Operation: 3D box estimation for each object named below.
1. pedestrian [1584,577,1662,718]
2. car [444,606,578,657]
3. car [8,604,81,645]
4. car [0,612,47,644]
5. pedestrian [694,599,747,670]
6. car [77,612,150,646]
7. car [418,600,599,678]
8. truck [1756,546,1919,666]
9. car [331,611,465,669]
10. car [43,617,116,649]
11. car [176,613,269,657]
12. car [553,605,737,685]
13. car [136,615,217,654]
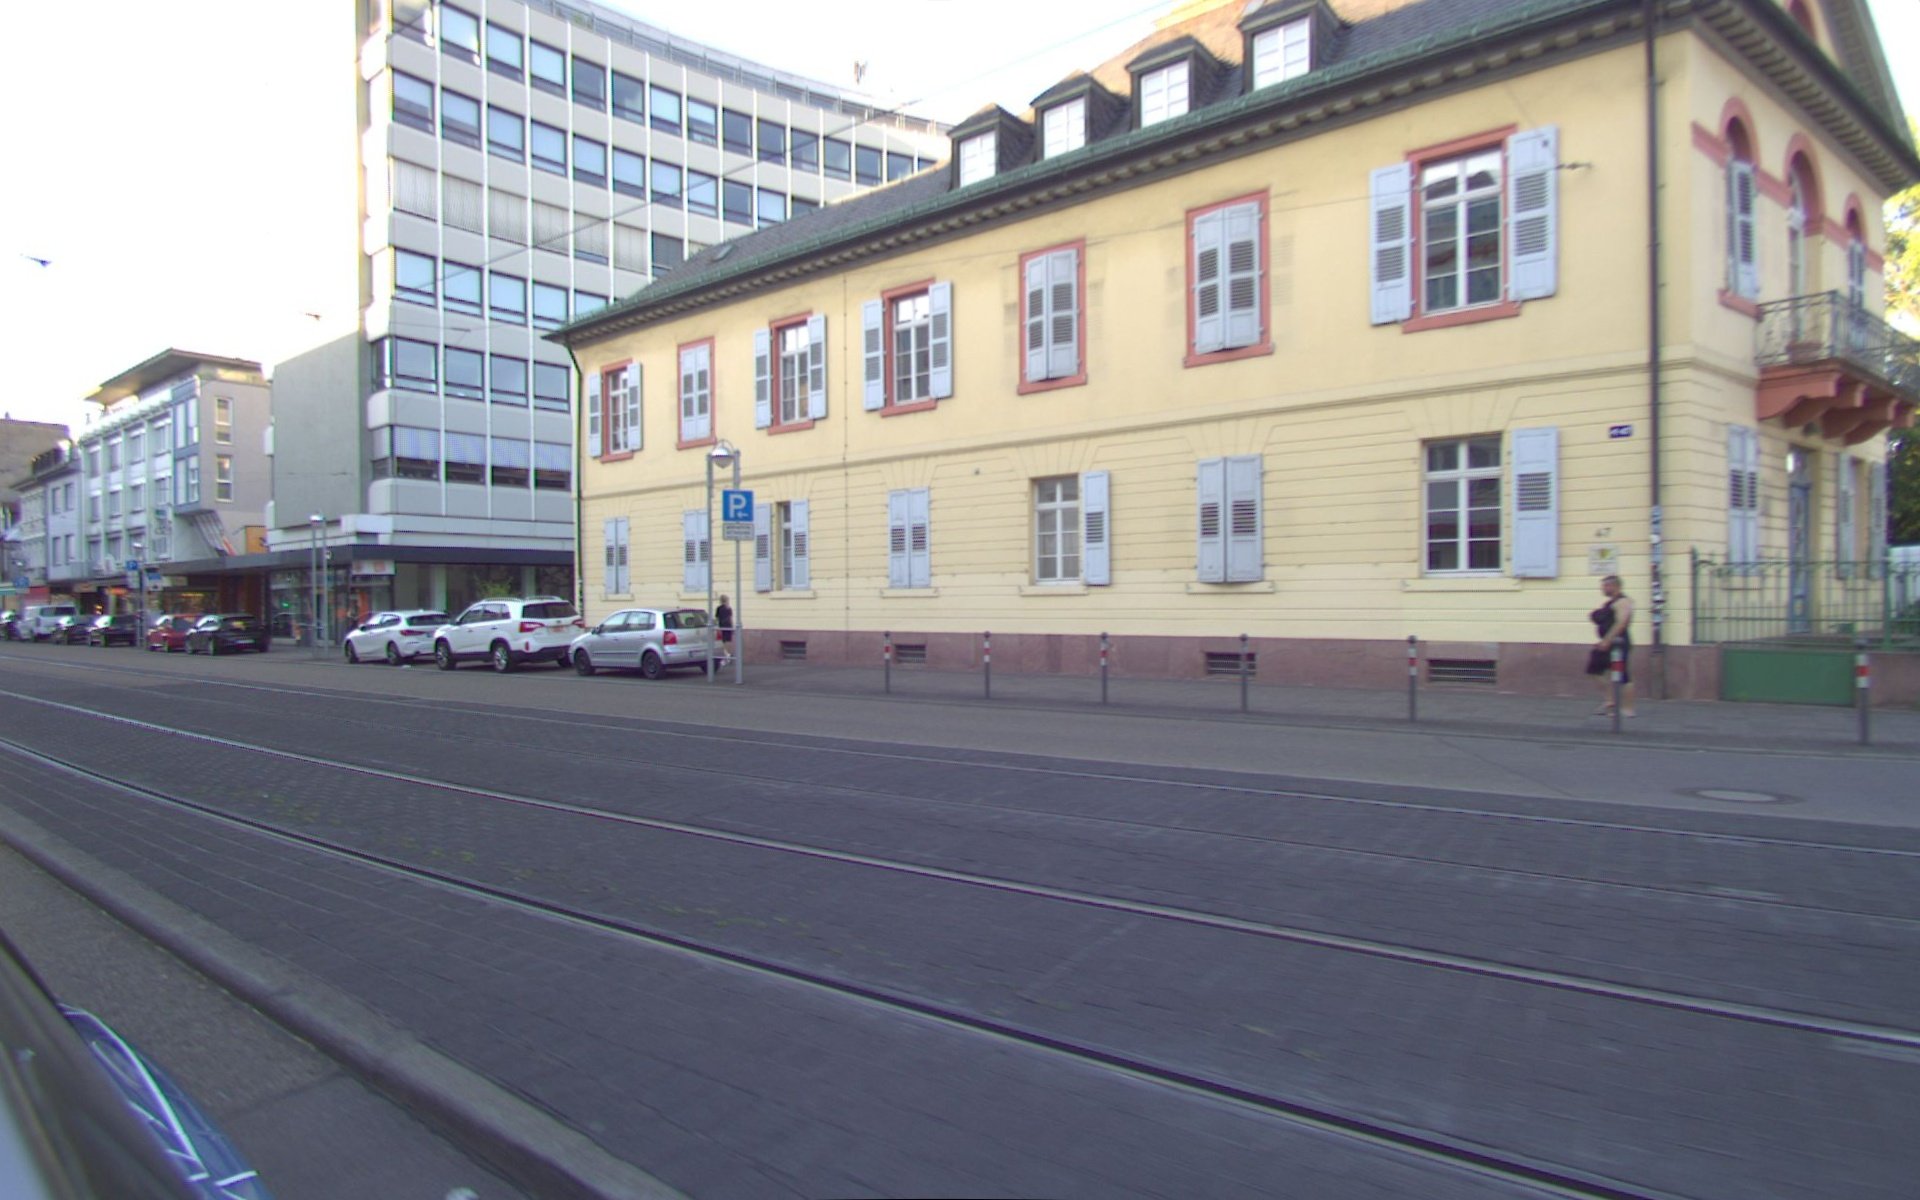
[{"bbox_3d":[7.585,0.524,11.595,0.717,1.548,0.713,-1,-1,33],"label":"pedestrian"},{"bbox_3d":[-16.012,1.079,36.235,1.910,1.564,3.953,-1,1,35],"label":"car"},{"bbox_3d":[-49.522,1.296,54.705,5.091,2.029,1.946,-1,1,37],"label":"car"},{"bbox_3d":[-54.868,1.586,58.712,4.581,1.710,1.975,-1,1,38],"label":"car"},{"bbox_3d":[-5.477,0.776,23.172,0.877,1.553,0.791,-1,1,40],"label":"pedestrian"},{"bbox_3d":[-38.389,1.312,45.857,4.086,1.472,1.773,-1,-1,39],"label":"car"},{"bbox_3d":[-11.014,0.909,24.557,4.751,1.673,1.870,-1,1,36],"label":"car"},{"bbox_3d":[22.570,0.100,23.997,2.159,2.719,5.484,-2,1,-18],"label":"truck"},{"bbox_3d":[-15.875,1.097,28.531,4.276,1.464,1.705,-1,1,37],"label":"car"},{"bbox_3d":[-43.677,1.606,50.164,4.564,1.437,1.854,-1,1,38],"label":"car"},{"bbox_3d":[-26.908,1.251,36.907,3.959,1.436,1.676,-1,1,38],"label":"car"},{"bbox_3d":[-6.735,0.919,21.495,3.994,1.485,1.732,-2,1,38],"label":"car"},{"bbox_3d":[-30.998,1.351,40.016,3.587,1.445,1.676,-1,0,38],"label":"car"}]
